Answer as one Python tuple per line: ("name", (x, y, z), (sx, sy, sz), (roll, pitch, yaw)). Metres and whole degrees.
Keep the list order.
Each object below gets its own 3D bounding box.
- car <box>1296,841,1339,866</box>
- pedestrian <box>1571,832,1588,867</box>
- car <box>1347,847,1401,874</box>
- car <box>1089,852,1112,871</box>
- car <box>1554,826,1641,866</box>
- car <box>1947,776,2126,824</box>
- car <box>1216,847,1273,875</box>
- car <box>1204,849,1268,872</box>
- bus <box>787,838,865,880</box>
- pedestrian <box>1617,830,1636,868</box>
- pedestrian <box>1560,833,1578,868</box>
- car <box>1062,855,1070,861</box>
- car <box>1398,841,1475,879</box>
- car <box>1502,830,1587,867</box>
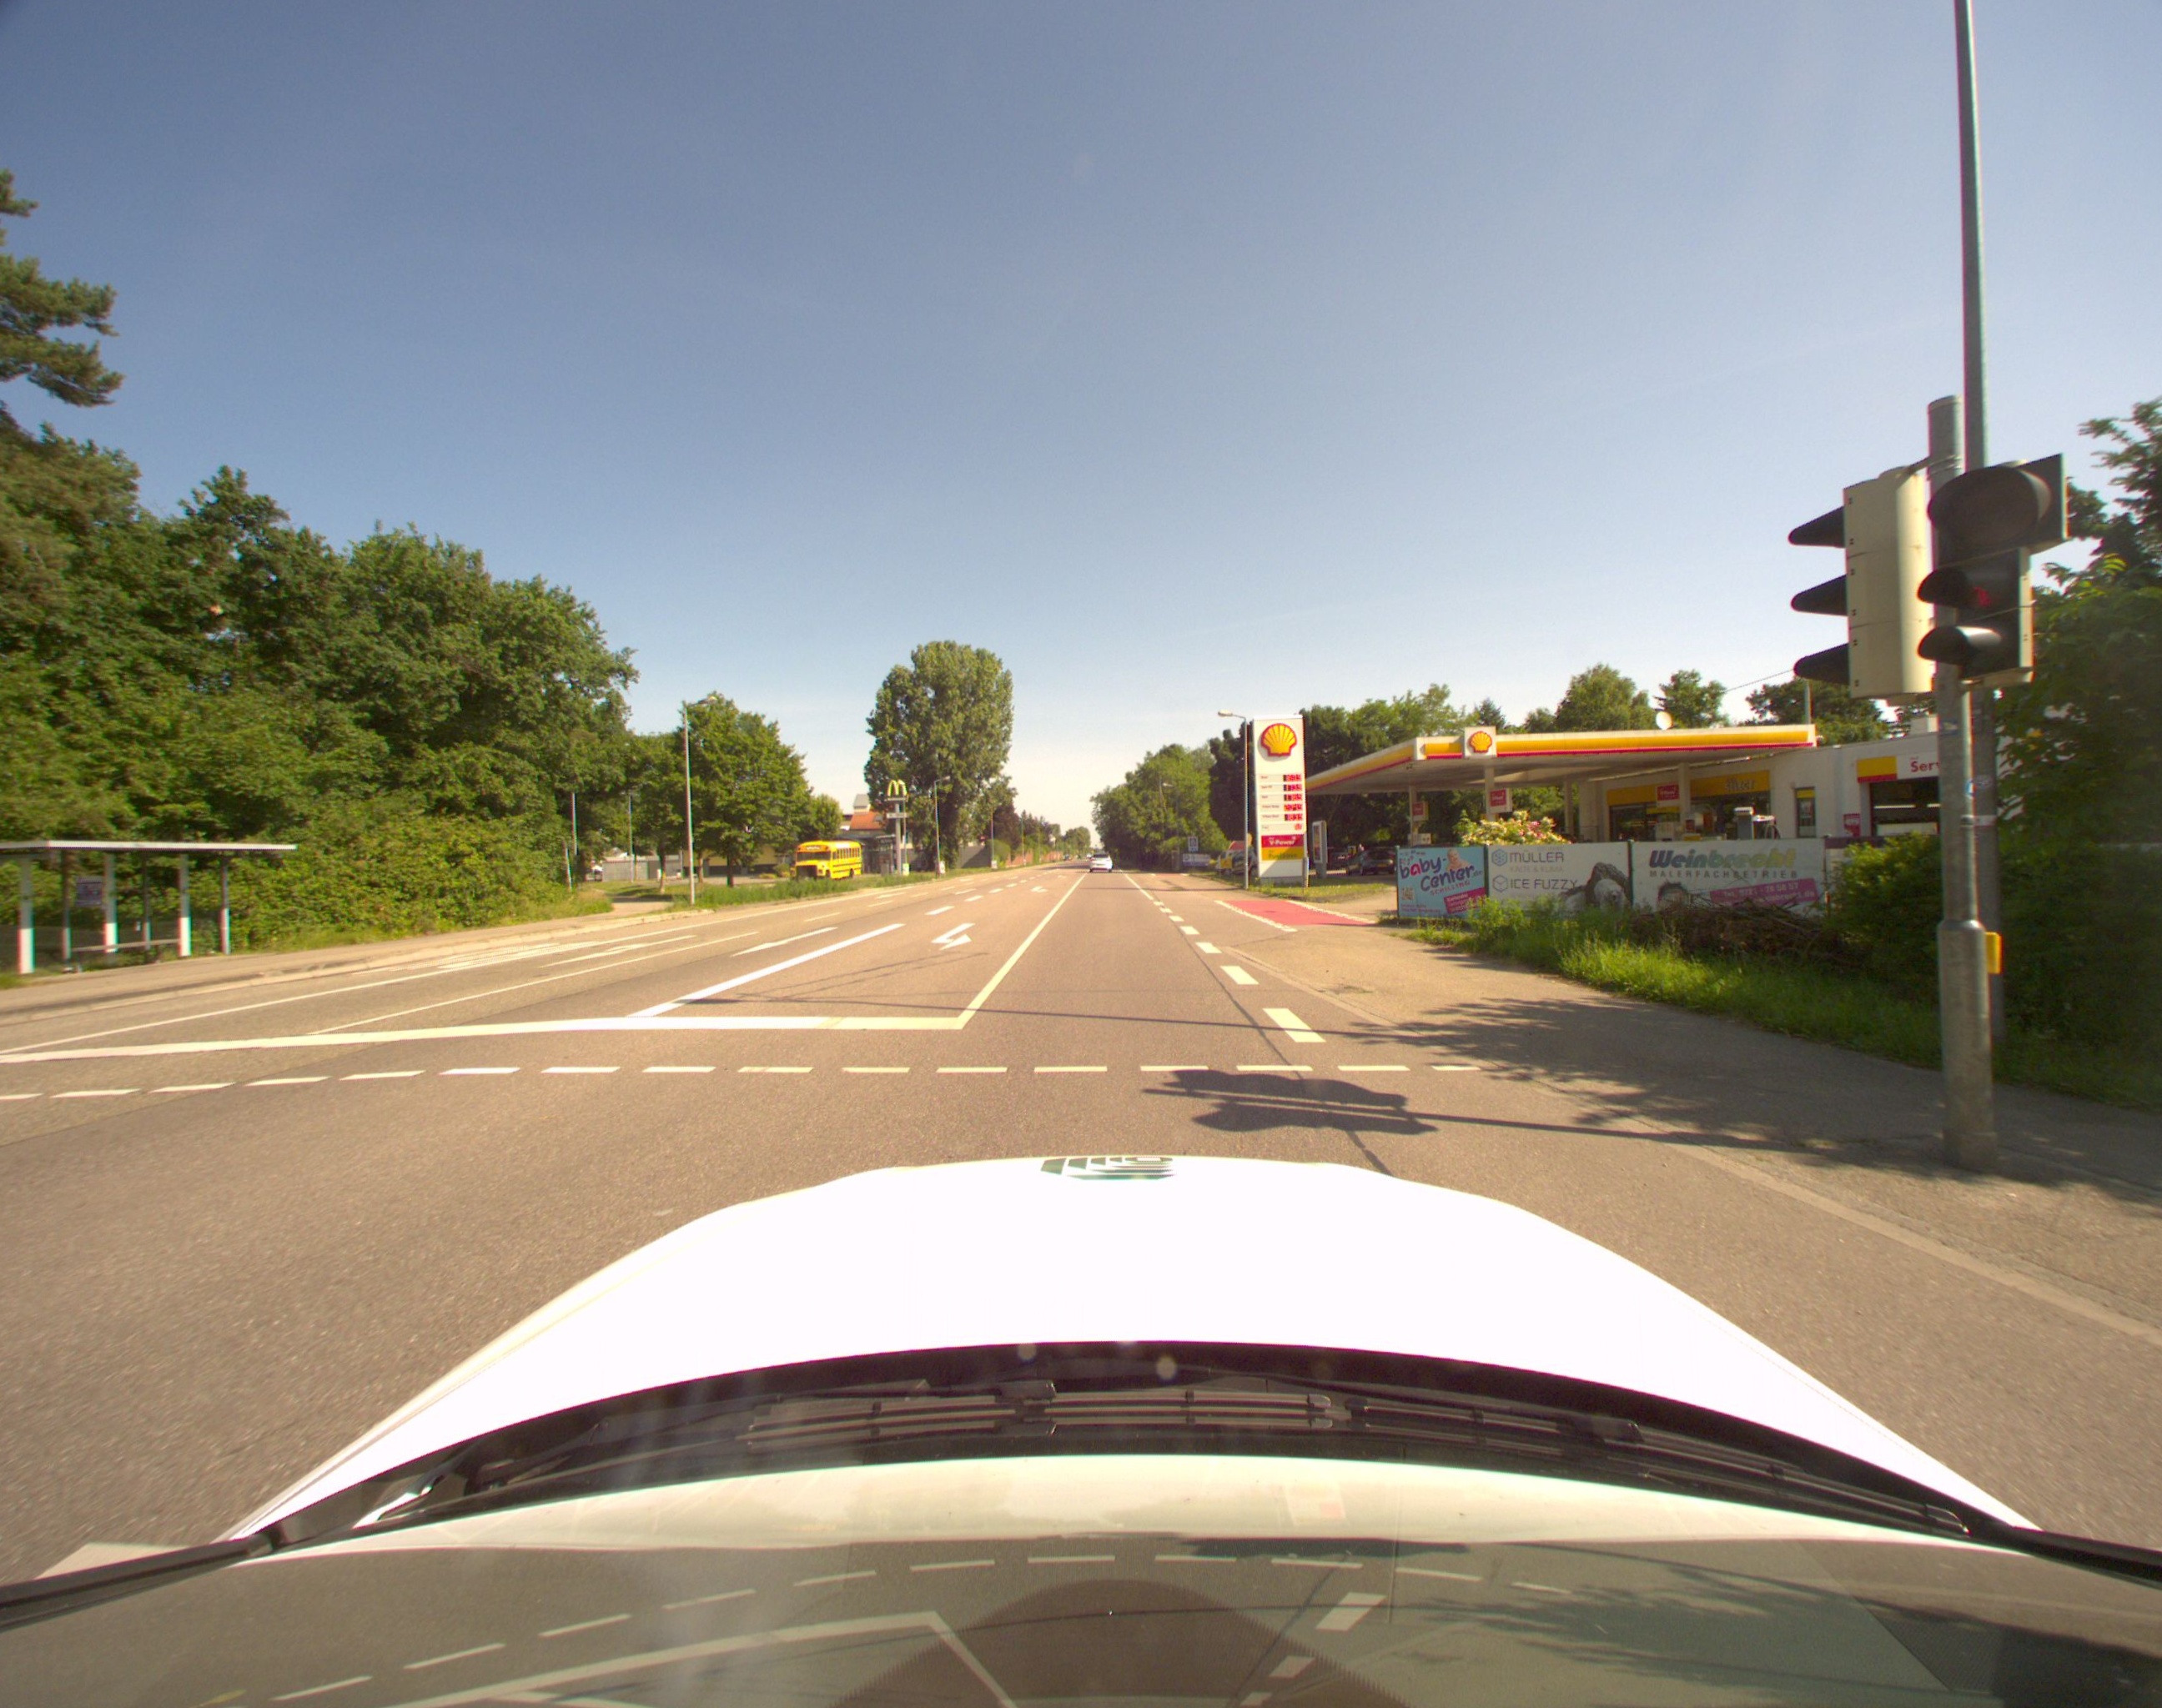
("car", (17.613, -0.009, 60.788), (1.988, 1.766, 3.998), (0, 0, -1))
("pedestrian", (23.213, -0.194, 37.925), (0.497, 1.593, 0.476), (-2, 0, 5))
("car", (16.026, 0.336, 44.758), (1.789, 1.360, 3.853), (-2, 0, 4))
("car", (1.630, 0.605, 67.639), (1.840, 1.541, 4.226), (0, 0, 2))
("car", (24.394, -0.334, 38.643), (1.819, 1.728, 4.006), (-2, -1, 5))
("car", (32.026, -1.799, 27.377), (3.970, 1.486, 1.653), (0, -1, 3))
("car", (9.220, 0.436, 46.030), (1.587, 1.530, 2.697), (1, -2, -44))
("car", (10.375, 0.424, 54.693), (3.981, 1.530, 1.582), (0, -1, -6))
("bus", (-17.241, 0.353, 55.763), (2.571, 2.679, 8.994), (0, 0, 0))
("pedestrian", (24.389, -0.242, 36.432), (0.472, 1.668, 0.501), (-2, 0, 3))
("pedestrian", (23.260, -0.182, 38.821), (0.497, 1.631, 0.476), (-2, 0, 5))
("car", (-4.046, 1.166, 219.202), (1.840, 1.496, 4.913), (-3, -1, 2))
("car", (16.026, 0.268, 36.932), (1.754, 1.578, 3.877), (-2, 0, 0))
("car", (24.783, -0.290, 43.744), (1.845, 1.838, 4.780), (-2, 0, 0))
